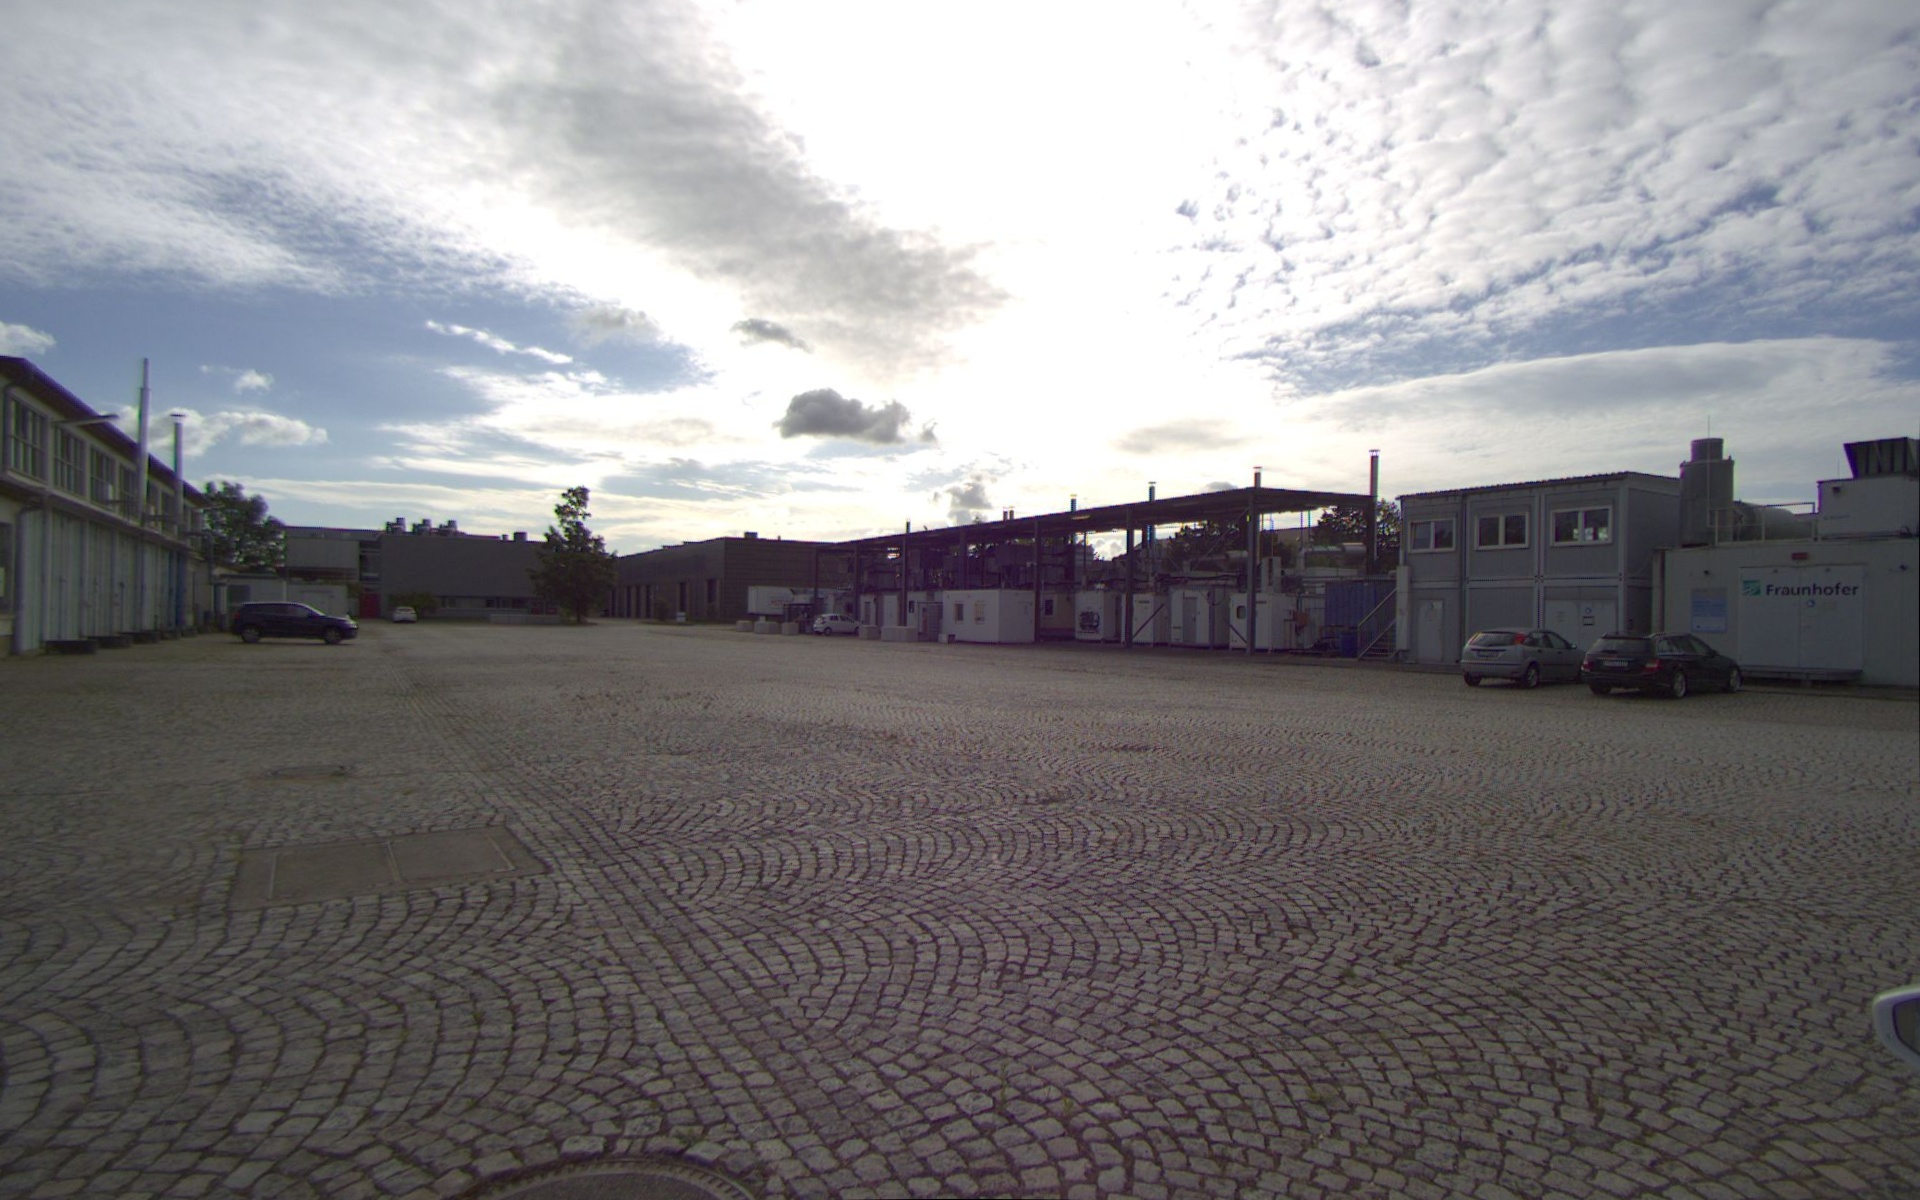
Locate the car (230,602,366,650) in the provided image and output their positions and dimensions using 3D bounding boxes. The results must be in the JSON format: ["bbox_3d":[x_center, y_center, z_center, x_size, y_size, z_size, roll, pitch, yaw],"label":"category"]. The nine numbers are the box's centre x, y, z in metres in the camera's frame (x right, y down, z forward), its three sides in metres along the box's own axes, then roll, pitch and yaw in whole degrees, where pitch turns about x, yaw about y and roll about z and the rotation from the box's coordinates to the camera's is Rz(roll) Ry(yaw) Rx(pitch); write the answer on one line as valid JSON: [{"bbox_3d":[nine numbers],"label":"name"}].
[{"bbox_3d":[-26.184,1.068,39.932,4.388,1.779,1.983,1,-4,-33],"label":"car"}]

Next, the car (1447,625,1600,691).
[{"bbox_3d":[14.733,1.452,26.211,4.004,1.495,1.895,0,0,-34],"label":"car"}]

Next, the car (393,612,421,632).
[{"bbox_3d":[-51.784,2.061,94.031,2.130,1.834,3.965,1,-1,-32],"label":"car"}]

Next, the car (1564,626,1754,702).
[{"bbox_3d":[16.252,1.405,23.306,4.478,1.472,2.025,-1,0,-32],"label":"car"}]

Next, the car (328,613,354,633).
[{"bbox_3d":[-55.966,2.069,90.840,1.978,1.834,3.965,1,-1,-32],"label":"car"}]

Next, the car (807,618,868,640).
[{"bbox_3d":[-8.844,2.097,72.563,3.957,1.512,1.982,2,-1,-33],"label":"car"}]
